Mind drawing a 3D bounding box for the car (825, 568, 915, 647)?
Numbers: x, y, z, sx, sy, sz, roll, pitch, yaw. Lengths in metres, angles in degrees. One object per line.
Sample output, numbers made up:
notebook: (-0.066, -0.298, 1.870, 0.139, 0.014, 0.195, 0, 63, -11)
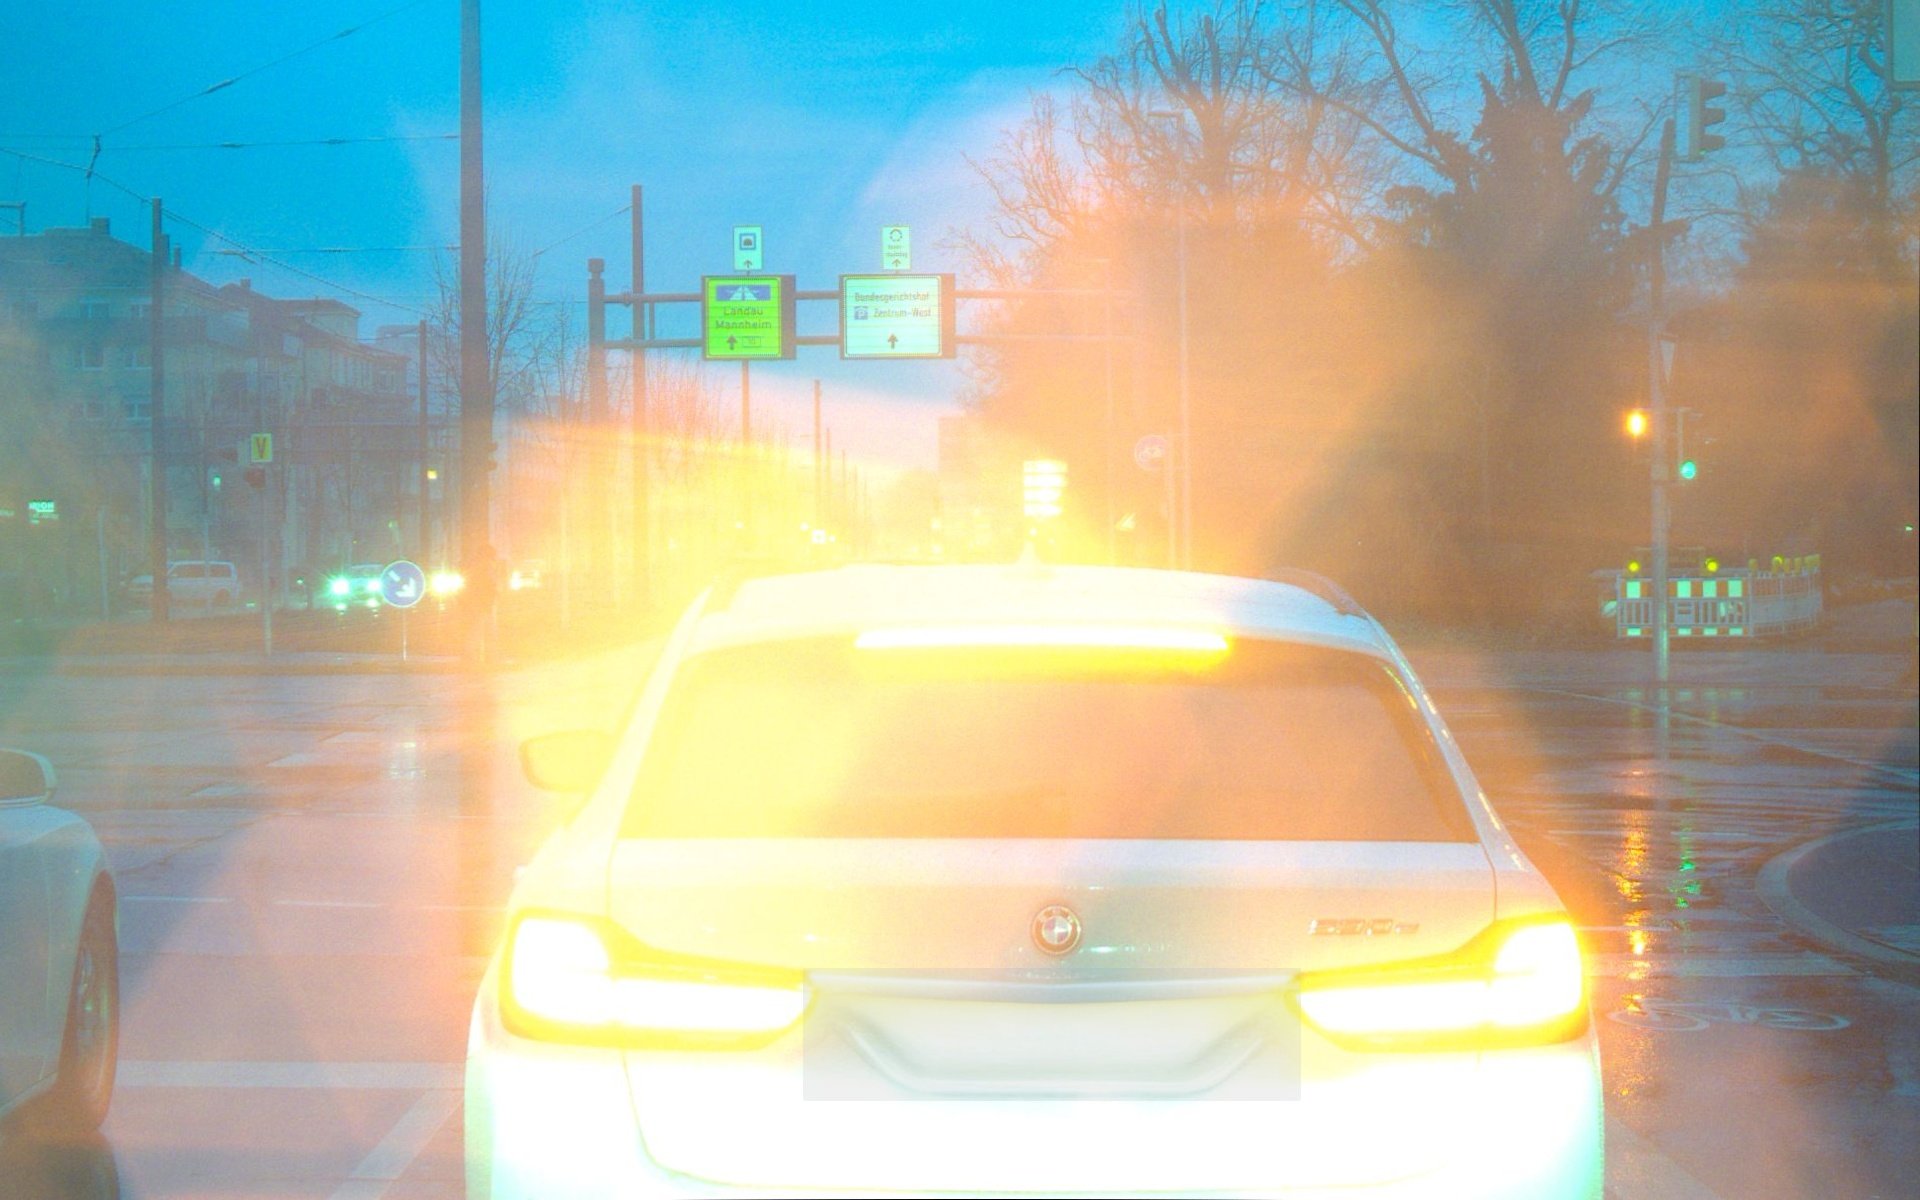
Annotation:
car: (-1.935, 0.156, 73.649, 1.843, 1.603, 3.945, 1, 0, -2)

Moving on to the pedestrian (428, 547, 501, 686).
pedestrian: (-6.716, 0.223, 46.557, 0.902, 1.850, 0.812, 1, 0, -10)

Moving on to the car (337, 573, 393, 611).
car: (-24.532, -0.333, 141.829, 1.675, 1.502, 3.696, 1, 0, -1)

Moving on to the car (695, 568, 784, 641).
car: (-5.008, 0.101, 78.556, 1.843, 1.603, 3.945, 1, 0, -2)

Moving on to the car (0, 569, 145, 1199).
car: (-3.098, 0.679, 7.043, 1.993, 1.451, 4.369, 0, 1, -2)

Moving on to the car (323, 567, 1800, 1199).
car: (0.048, 0.682, 6.824, 1.993, 1.451, 4.369, 0, 1, -2)
